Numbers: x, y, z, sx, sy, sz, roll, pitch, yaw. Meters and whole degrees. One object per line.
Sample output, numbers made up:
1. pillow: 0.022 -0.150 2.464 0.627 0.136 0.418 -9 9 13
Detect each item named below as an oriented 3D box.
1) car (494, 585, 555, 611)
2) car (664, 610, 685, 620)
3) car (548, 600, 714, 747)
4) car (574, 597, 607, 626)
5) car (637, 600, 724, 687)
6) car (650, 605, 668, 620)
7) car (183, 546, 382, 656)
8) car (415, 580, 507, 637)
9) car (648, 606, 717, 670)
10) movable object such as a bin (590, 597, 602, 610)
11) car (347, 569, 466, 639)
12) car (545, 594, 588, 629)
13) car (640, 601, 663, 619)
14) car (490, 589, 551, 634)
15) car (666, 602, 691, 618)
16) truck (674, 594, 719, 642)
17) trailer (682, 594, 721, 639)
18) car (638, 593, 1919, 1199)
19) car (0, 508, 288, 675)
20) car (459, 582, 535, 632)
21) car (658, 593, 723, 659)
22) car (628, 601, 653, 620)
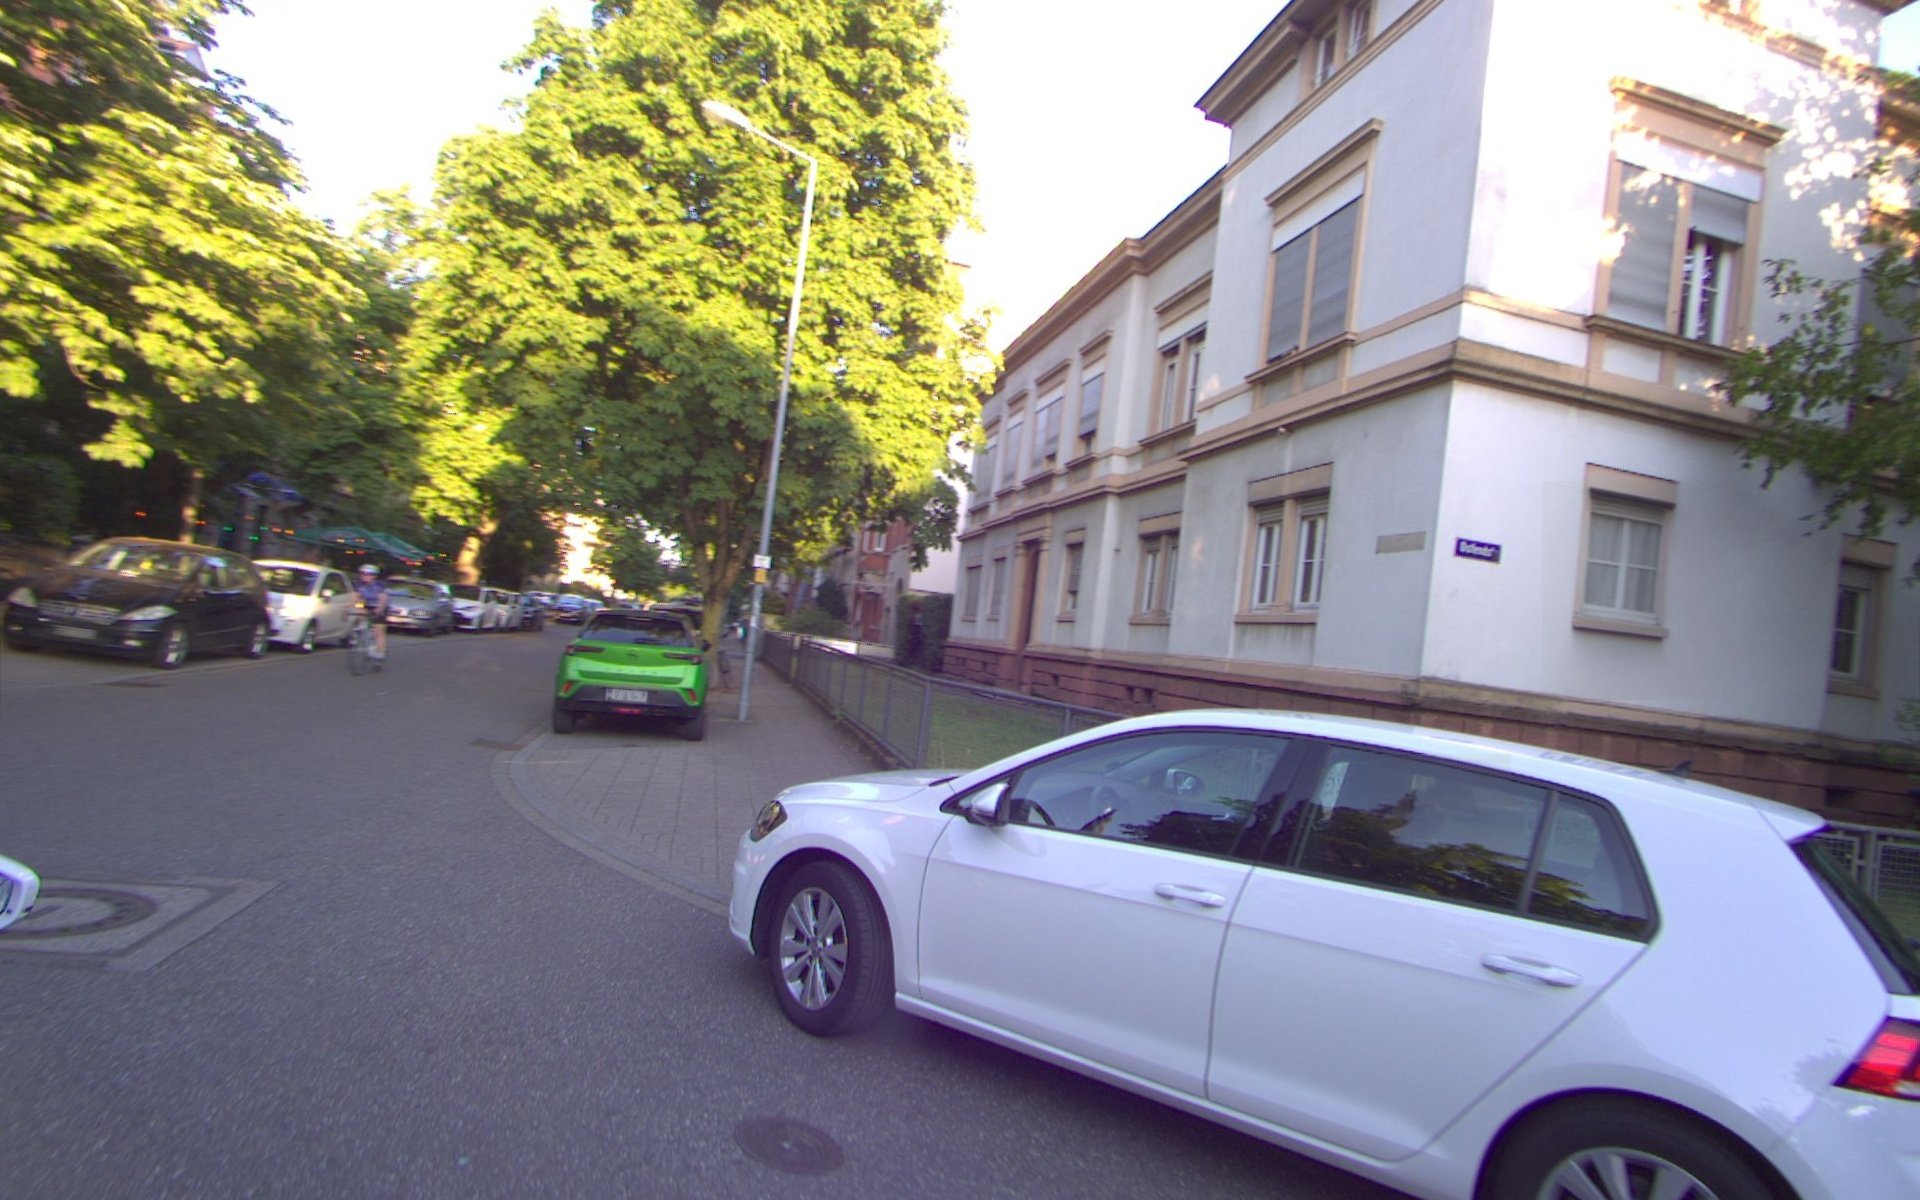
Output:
1. car: -35.626 -0.148 82.365 4.034 1.464 1.708 8 -1 -5
2. car: -52.768 2.757 185.920 3.578 1.478 1.601 8 -2 -18
3. car: -4.280 0.864 13.511 1.709 1.576 3.952 5 -1 -15
4. car: -23.044 0.710 62.879 1.535 1.497 3.682 10 -3 -17
5. car: -6.433 0.916 22.989 1.644 1.699 4.106 5 -1 -17
6. car: -36.898 1.588 123.453 1.694 1.584 3.780 8 -2 -14
7. car: -12.035 0.032 18.173 1.645 1.509 3.701 10 -3 -14
8. car: -15.807 0.272 32.074 1.584 1.451 3.877 10 -3 -13
9. car: -7.775 1.001 28.002 1.644 1.518 3.682 5 -1 -17
10. movable object such as a bin: -41.564 0.417 114.912 0.999 1.336 1.004 10 -1 -9
11. car: -14.632 0.084 26.872 1.821 1.426 4.583 11 -3 -19
12. car: -21.469 0.579 55.022 1.672 1.580 4.387 10 -3 -18
13. car: -33.654 1.074 109.712 1.898 1.736 4.418 8 -2 -14
14. car: -17.312 0.438 39.772 1.532 1.503 3.684 7 -2 -15
15. car: -52.803 1.846 188.791 4.298 2.344 1.741 8 -2 -15
16. truck: -13.928 0.889 53.031 1.930 2.274 4.630 5 -1 -17
17. trailer: -14.973 0.949 58.392 1.928 2.323 4.635 5 -1 -14
18. car: 0.946 1.048 3.901 4.104 1.516 1.812 7 -4 33
19. car: -10.959 -0.080 13.698 1.645 1.695 3.837 10 -3 -15
20. car: -16.889 0.272 36.848 1.532 1.501 3.687 10 -3 -12
21. car: -9.848 0.878 36.522 1.930 2.084 4.815 5 -1 -17
22. car: -29.826 1.003 94.096 1.595 1.487 3.955 8 -2 -11
